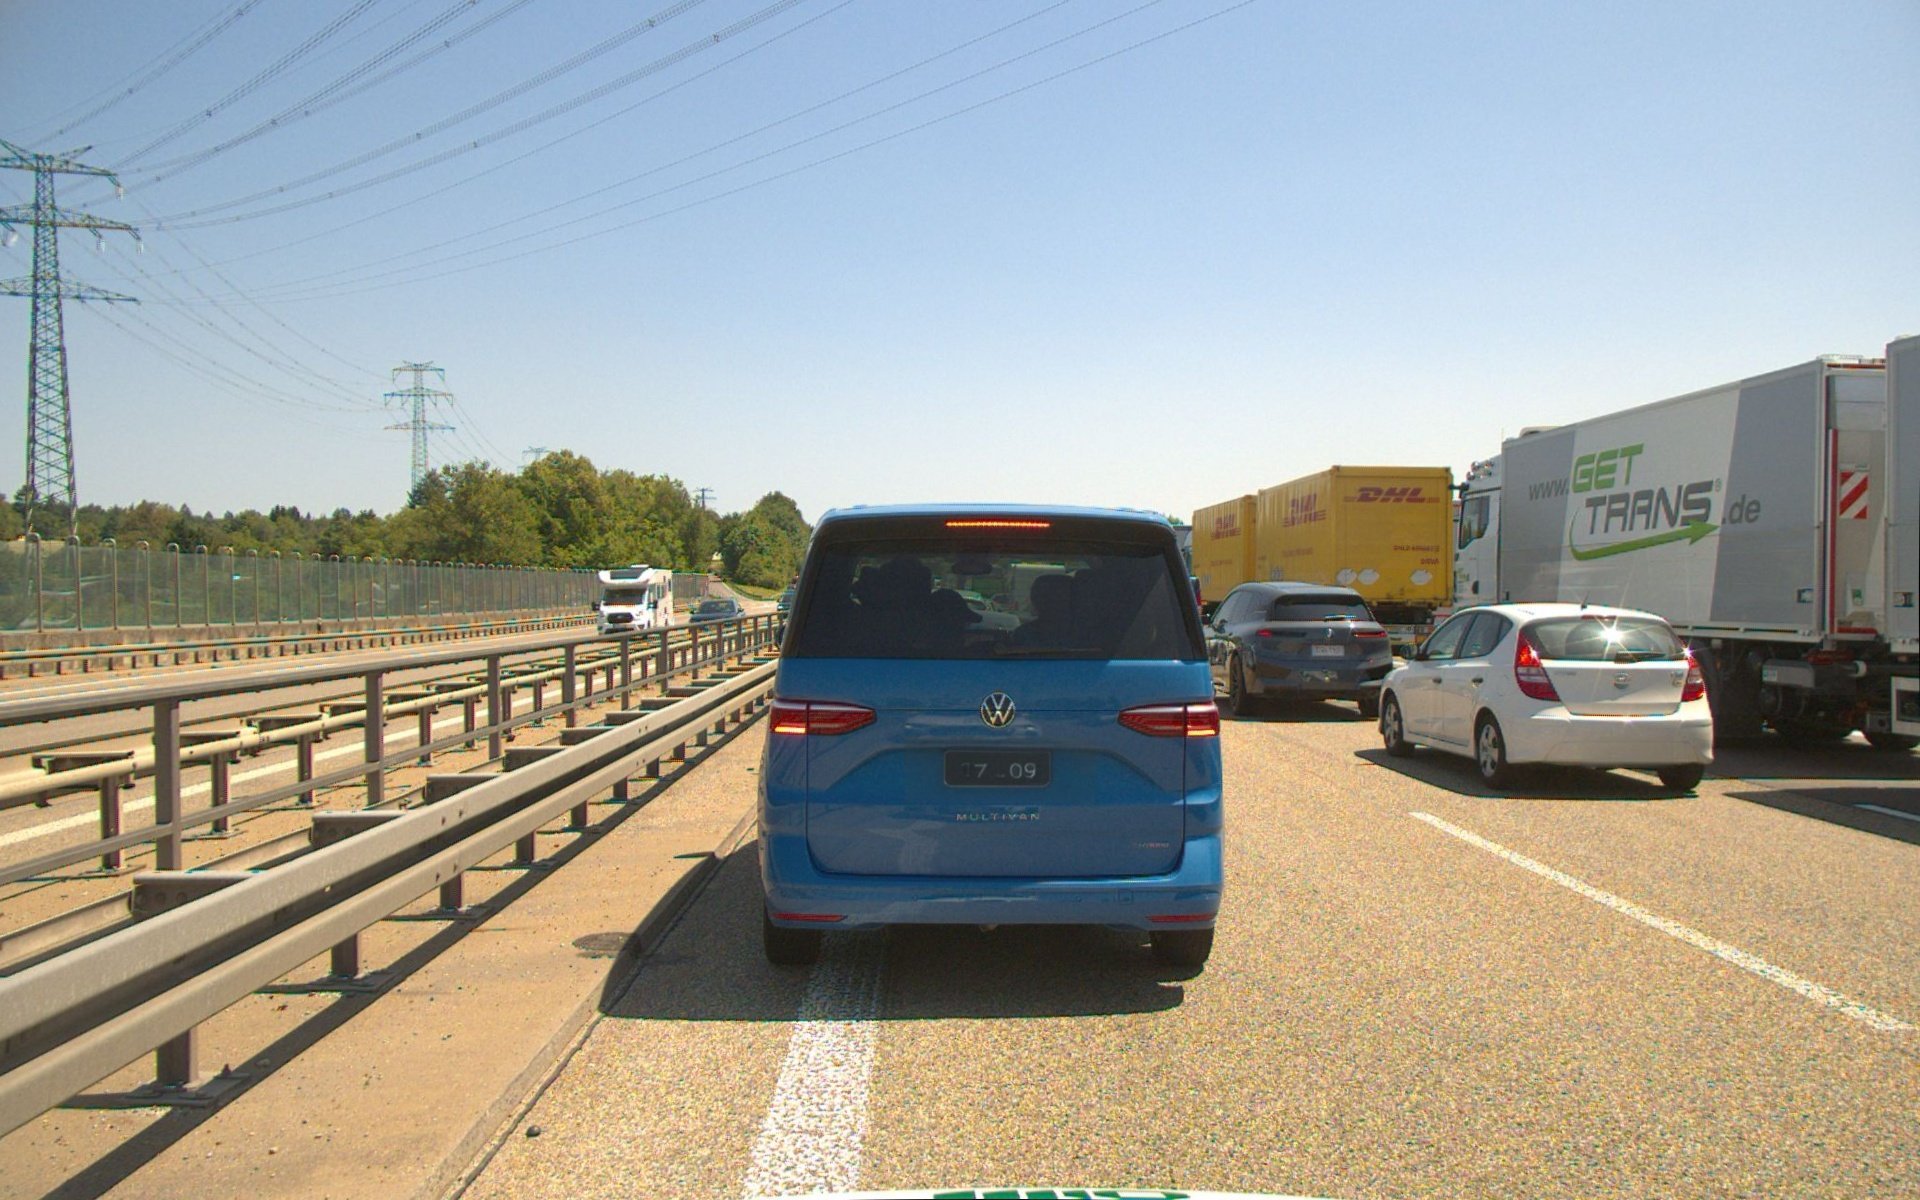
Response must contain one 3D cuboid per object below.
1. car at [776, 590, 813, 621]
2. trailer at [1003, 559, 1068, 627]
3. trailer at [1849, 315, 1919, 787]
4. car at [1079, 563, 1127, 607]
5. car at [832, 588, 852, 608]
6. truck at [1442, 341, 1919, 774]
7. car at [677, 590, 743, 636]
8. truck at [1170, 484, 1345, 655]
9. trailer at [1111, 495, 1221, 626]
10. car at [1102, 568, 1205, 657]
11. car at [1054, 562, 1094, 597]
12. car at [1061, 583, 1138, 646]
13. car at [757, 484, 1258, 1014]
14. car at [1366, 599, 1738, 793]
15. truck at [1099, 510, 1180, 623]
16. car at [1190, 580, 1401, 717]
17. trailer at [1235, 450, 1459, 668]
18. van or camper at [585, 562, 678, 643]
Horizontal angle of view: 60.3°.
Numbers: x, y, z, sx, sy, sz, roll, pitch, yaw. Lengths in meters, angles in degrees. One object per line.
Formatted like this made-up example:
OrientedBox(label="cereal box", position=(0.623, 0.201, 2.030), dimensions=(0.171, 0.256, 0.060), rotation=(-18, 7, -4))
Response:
OrientedBox(label="car", position=(-10.161, 0.340, 101.941), dimensions=(1.829, 1.729, 4.429), rotation=(-3, 1, -1))
OrientedBox(label="trailer", position=(3.550, -0.310, 80.149), dimensions=(2.517, 3.042, 10.660), rotation=(1, 0, -1))
OrientedBox(label="trailer", position=(9.043, -0.377, 10.222), dimensions=(2.643, 3.765, 8.012), rotation=(0, 0, -1))
OrientedBox(label="car", position=(6.954, -0.695, 80.831), dimensions=(1.953, 2.049, 3.999), rotation=(1, 0, -1))
OrientedBox(label="car", position=(-13.442, -0.242, 188.520), dimensions=(1.825, 2.168, 4.267), rotation=(-3, 0, 0))
OrientedBox(label="truck", position=(8.779, -0.386, 19.722), dimensions=(2.603, 3.711, 11.007), rotation=(0, 0, -1))
OrientedBox(label="car", position=(-9.517, 0.469, 63.263), dimensions=(1.830, 1.558, 4.423), rotation=(-4, 0, -1))
OrientedBox(label="truck", position=(8.302, -0.780, 47.716), dimensions=(2.778, 4.317, 11.007), rotation=(1, 0, -1))
OrientedBox(label="trailer", position=(7.759, -1.407, 63.806), dimensions=(2.583, 4.595, 11.298), rotation=(1, 0, -1))
OrientedBox(label="car", position=(4.618, 0.279, 39.995), dimensions=(1.922, 2.028, 4.292), rotation=(0, 0, -1))
OrientedBox(label="car", position=(6.768, -1.196, 98.480), dimensions=(1.953, 2.049, 4.460), rotation=(-1, 0, -1))
OrientedBox(label="car", position=(4.242, 0.408, 50.728), dimensions=(1.953, 1.847, 3.999), rotation=(0, 0, -1))
OrientedBox(label="car", position=(0.147, 0.545, 8.014), dimensions=(1.783, 1.890, 4.074), rotation=(1, 0, -1))
OrientedBox(label="car", position=(5.082, 0.736, 14.866), dimensions=(1.752, 1.481, 4.292), rotation=(0, 0, -1))
OrientedBox(label="truck", position=(7.646, -1.362, 71.150), dimensions=(2.613, 4.563, 6.848), rotation=(1, 0, -1))
OrientedBox(label="car", position=(4.406, 0.592, 22.389), dimensions=(1.922, 1.673, 4.292), rotation=(0, 0, -1))
OrientedBox(label="trailer", position=(8.525, -0.805, 37.707), dimensions=(2.806, 4.313, 9.009), rotation=(1, 0, -1))
OrientedBox(label="van or camper", position=(-13.383, 0.084, 67.891), dimensions=(2.373, 3.076, 7.025), rotation=(-2, 0, -1))
